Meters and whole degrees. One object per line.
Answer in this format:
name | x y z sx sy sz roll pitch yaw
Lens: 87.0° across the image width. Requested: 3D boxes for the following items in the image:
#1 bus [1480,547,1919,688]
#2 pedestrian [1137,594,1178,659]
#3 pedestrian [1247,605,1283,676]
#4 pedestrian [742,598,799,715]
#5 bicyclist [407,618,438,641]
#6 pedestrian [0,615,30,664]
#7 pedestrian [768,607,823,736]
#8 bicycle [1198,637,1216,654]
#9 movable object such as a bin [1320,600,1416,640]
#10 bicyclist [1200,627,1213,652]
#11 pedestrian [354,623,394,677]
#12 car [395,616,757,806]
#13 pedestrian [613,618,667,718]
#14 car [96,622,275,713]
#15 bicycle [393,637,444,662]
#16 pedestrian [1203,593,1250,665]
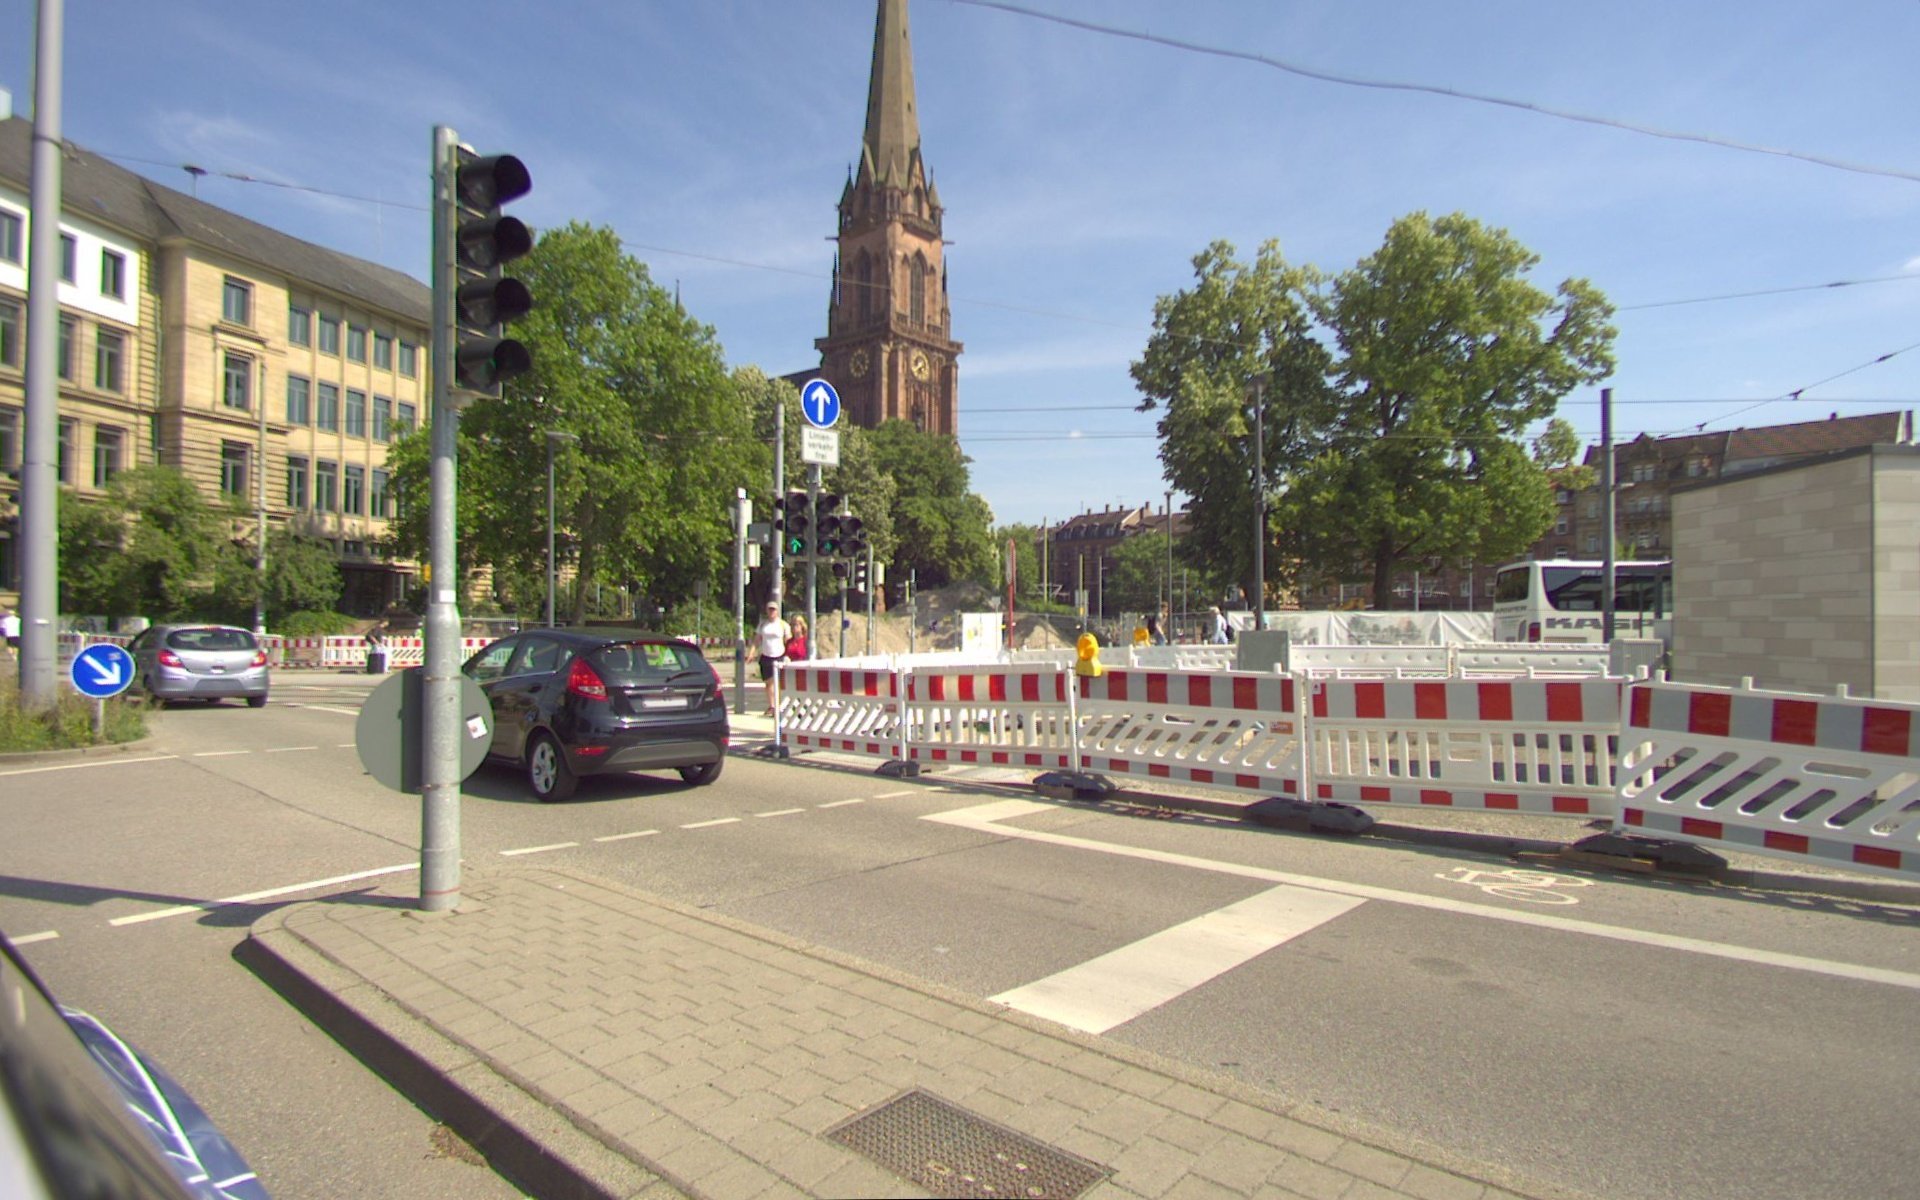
bus | 21.123 0.481 27.066 12.504 3.516 2.856 0 -2 7
pedestrian | 5.319 0.703 27.240 0.922 1.726 0.559 -1 -2 -5
pedestrian | 7.219 0.951 23.950 0.577 1.628 0.690 -1 -2 -3
pedestrian | -3.018 0.886 16.147 0.829 1.826 0.650 -1 -2 -5
bicyclist | -21.448 1.180 40.380 0.858 0.934 0.682 0 -2 2
pedestrian | -34.115 1.421 36.425 0.732 1.763 0.586 1 -2 -16
pedestrian | -2.141 0.915 13.165 0.686 1.628 0.346 -2 -3 42
bicycle | 13.905 2.565 56.982 0.757 0.930 2.056 0 -2 20
movable object such as a bin | 32.104 1.591 79.728 6.541 3.032 2.552 -1 -2 36
bicyclist | 13.889 2.229 57.054 0.615 1.370 1.165 0 -2 20
pedestrian | -18.375 1.565 31.750 0.926 1.668 0.845 2 -2 -41
car | -3.798 0.931 9.718 3.816 1.462 1.648 -1 -4 42
pedestrian | -5.106 1.080 16.171 0.663 1.555 0.420 -2 1 22
car | -13.847 1.145 18.017 3.999 1.422 1.775 -1 -4 42
bicycle | -21.584 1.978 40.352 1.643 0.954 0.701 0 -2 2
pedestrian | 6.165 0.660 23.426 0.780 1.628 0.664 0 -2 -34
